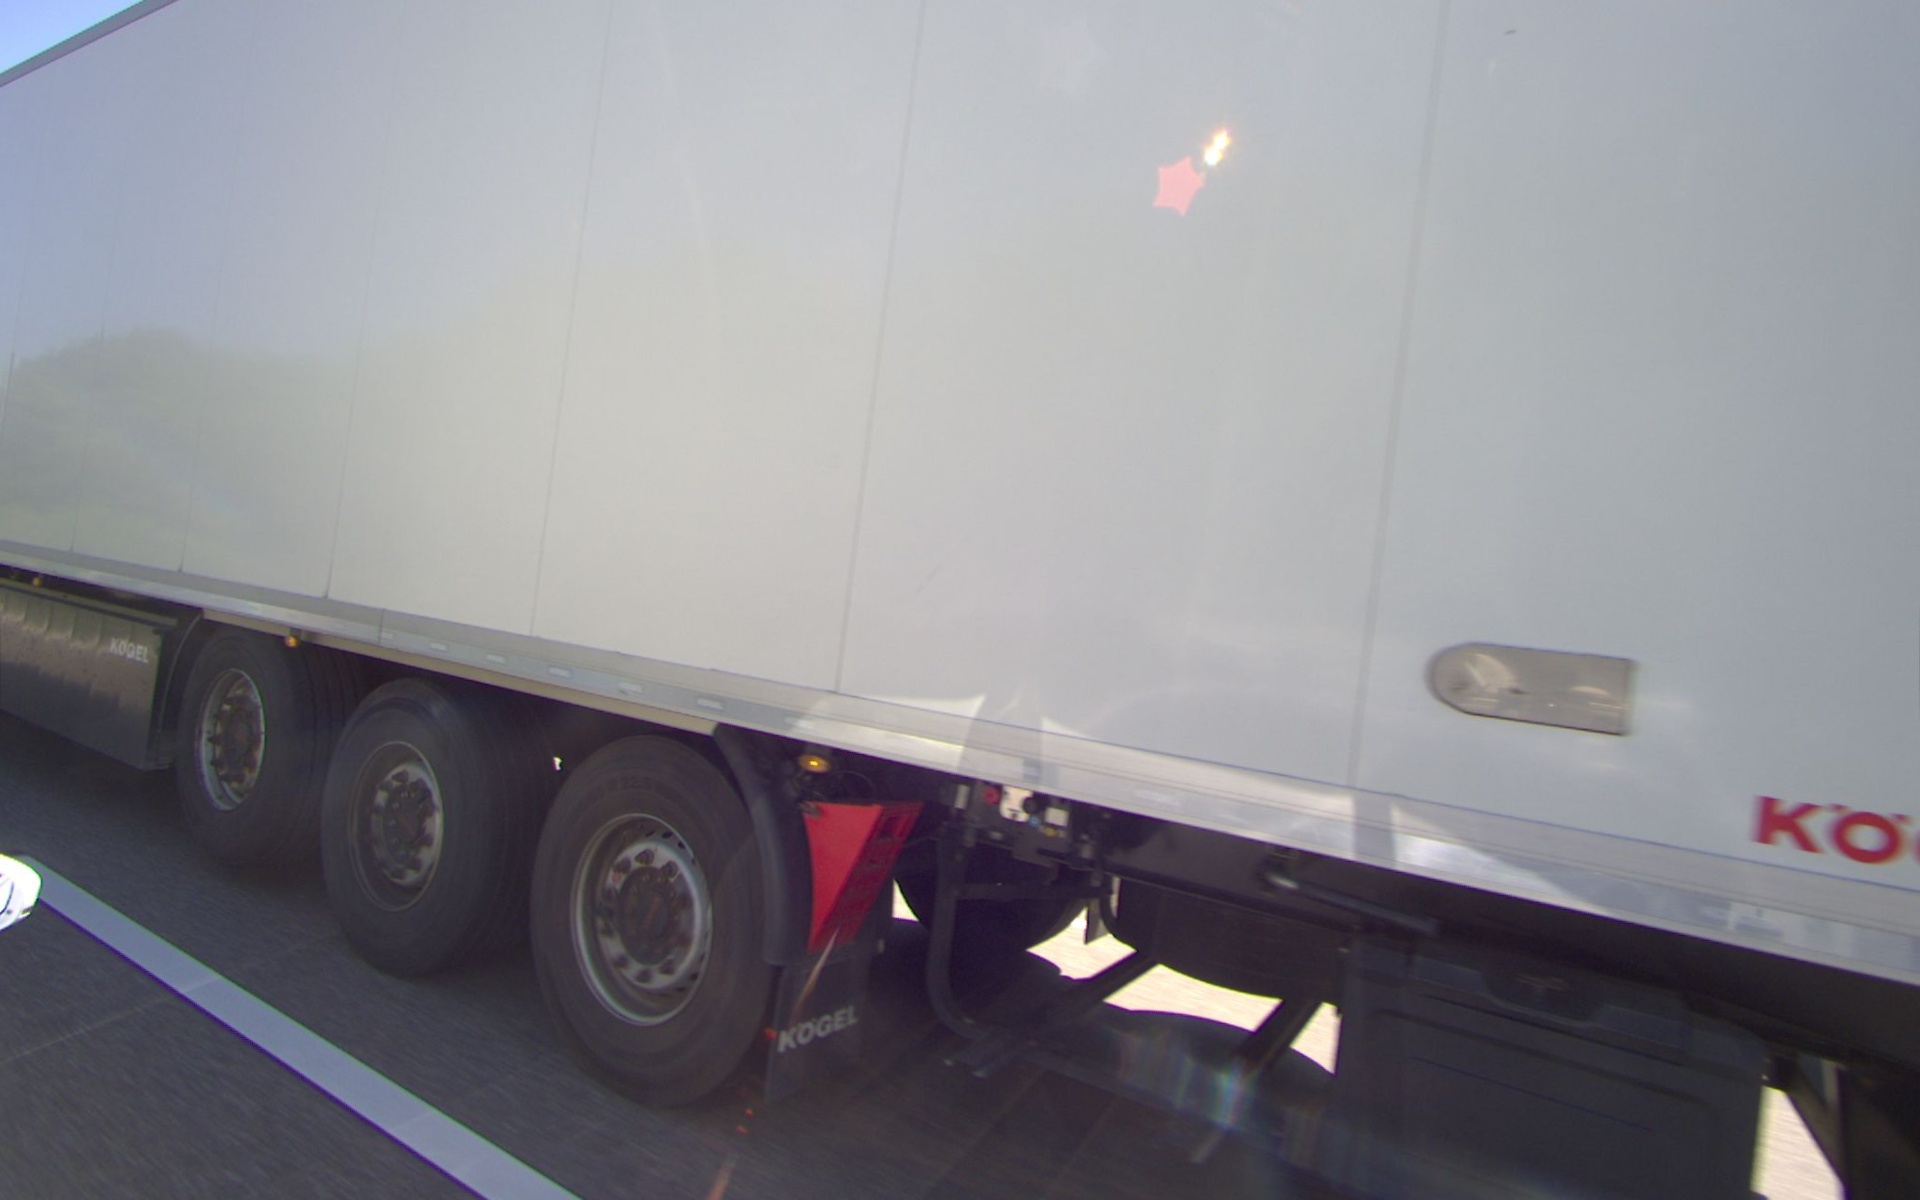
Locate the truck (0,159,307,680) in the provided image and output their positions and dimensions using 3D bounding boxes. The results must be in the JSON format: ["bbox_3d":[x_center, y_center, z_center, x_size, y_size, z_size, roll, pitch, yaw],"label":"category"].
[{"bbox_3d":[-9.550,-1.634,9.946,4.483,4.208,3.234,7,0,31],"label":"truck"}]

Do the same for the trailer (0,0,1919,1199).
[{"bbox_3d":[-2.773,-0.859,5.775,12.146,4.194,3.228,7,0,31],"label":"trailer"}]
